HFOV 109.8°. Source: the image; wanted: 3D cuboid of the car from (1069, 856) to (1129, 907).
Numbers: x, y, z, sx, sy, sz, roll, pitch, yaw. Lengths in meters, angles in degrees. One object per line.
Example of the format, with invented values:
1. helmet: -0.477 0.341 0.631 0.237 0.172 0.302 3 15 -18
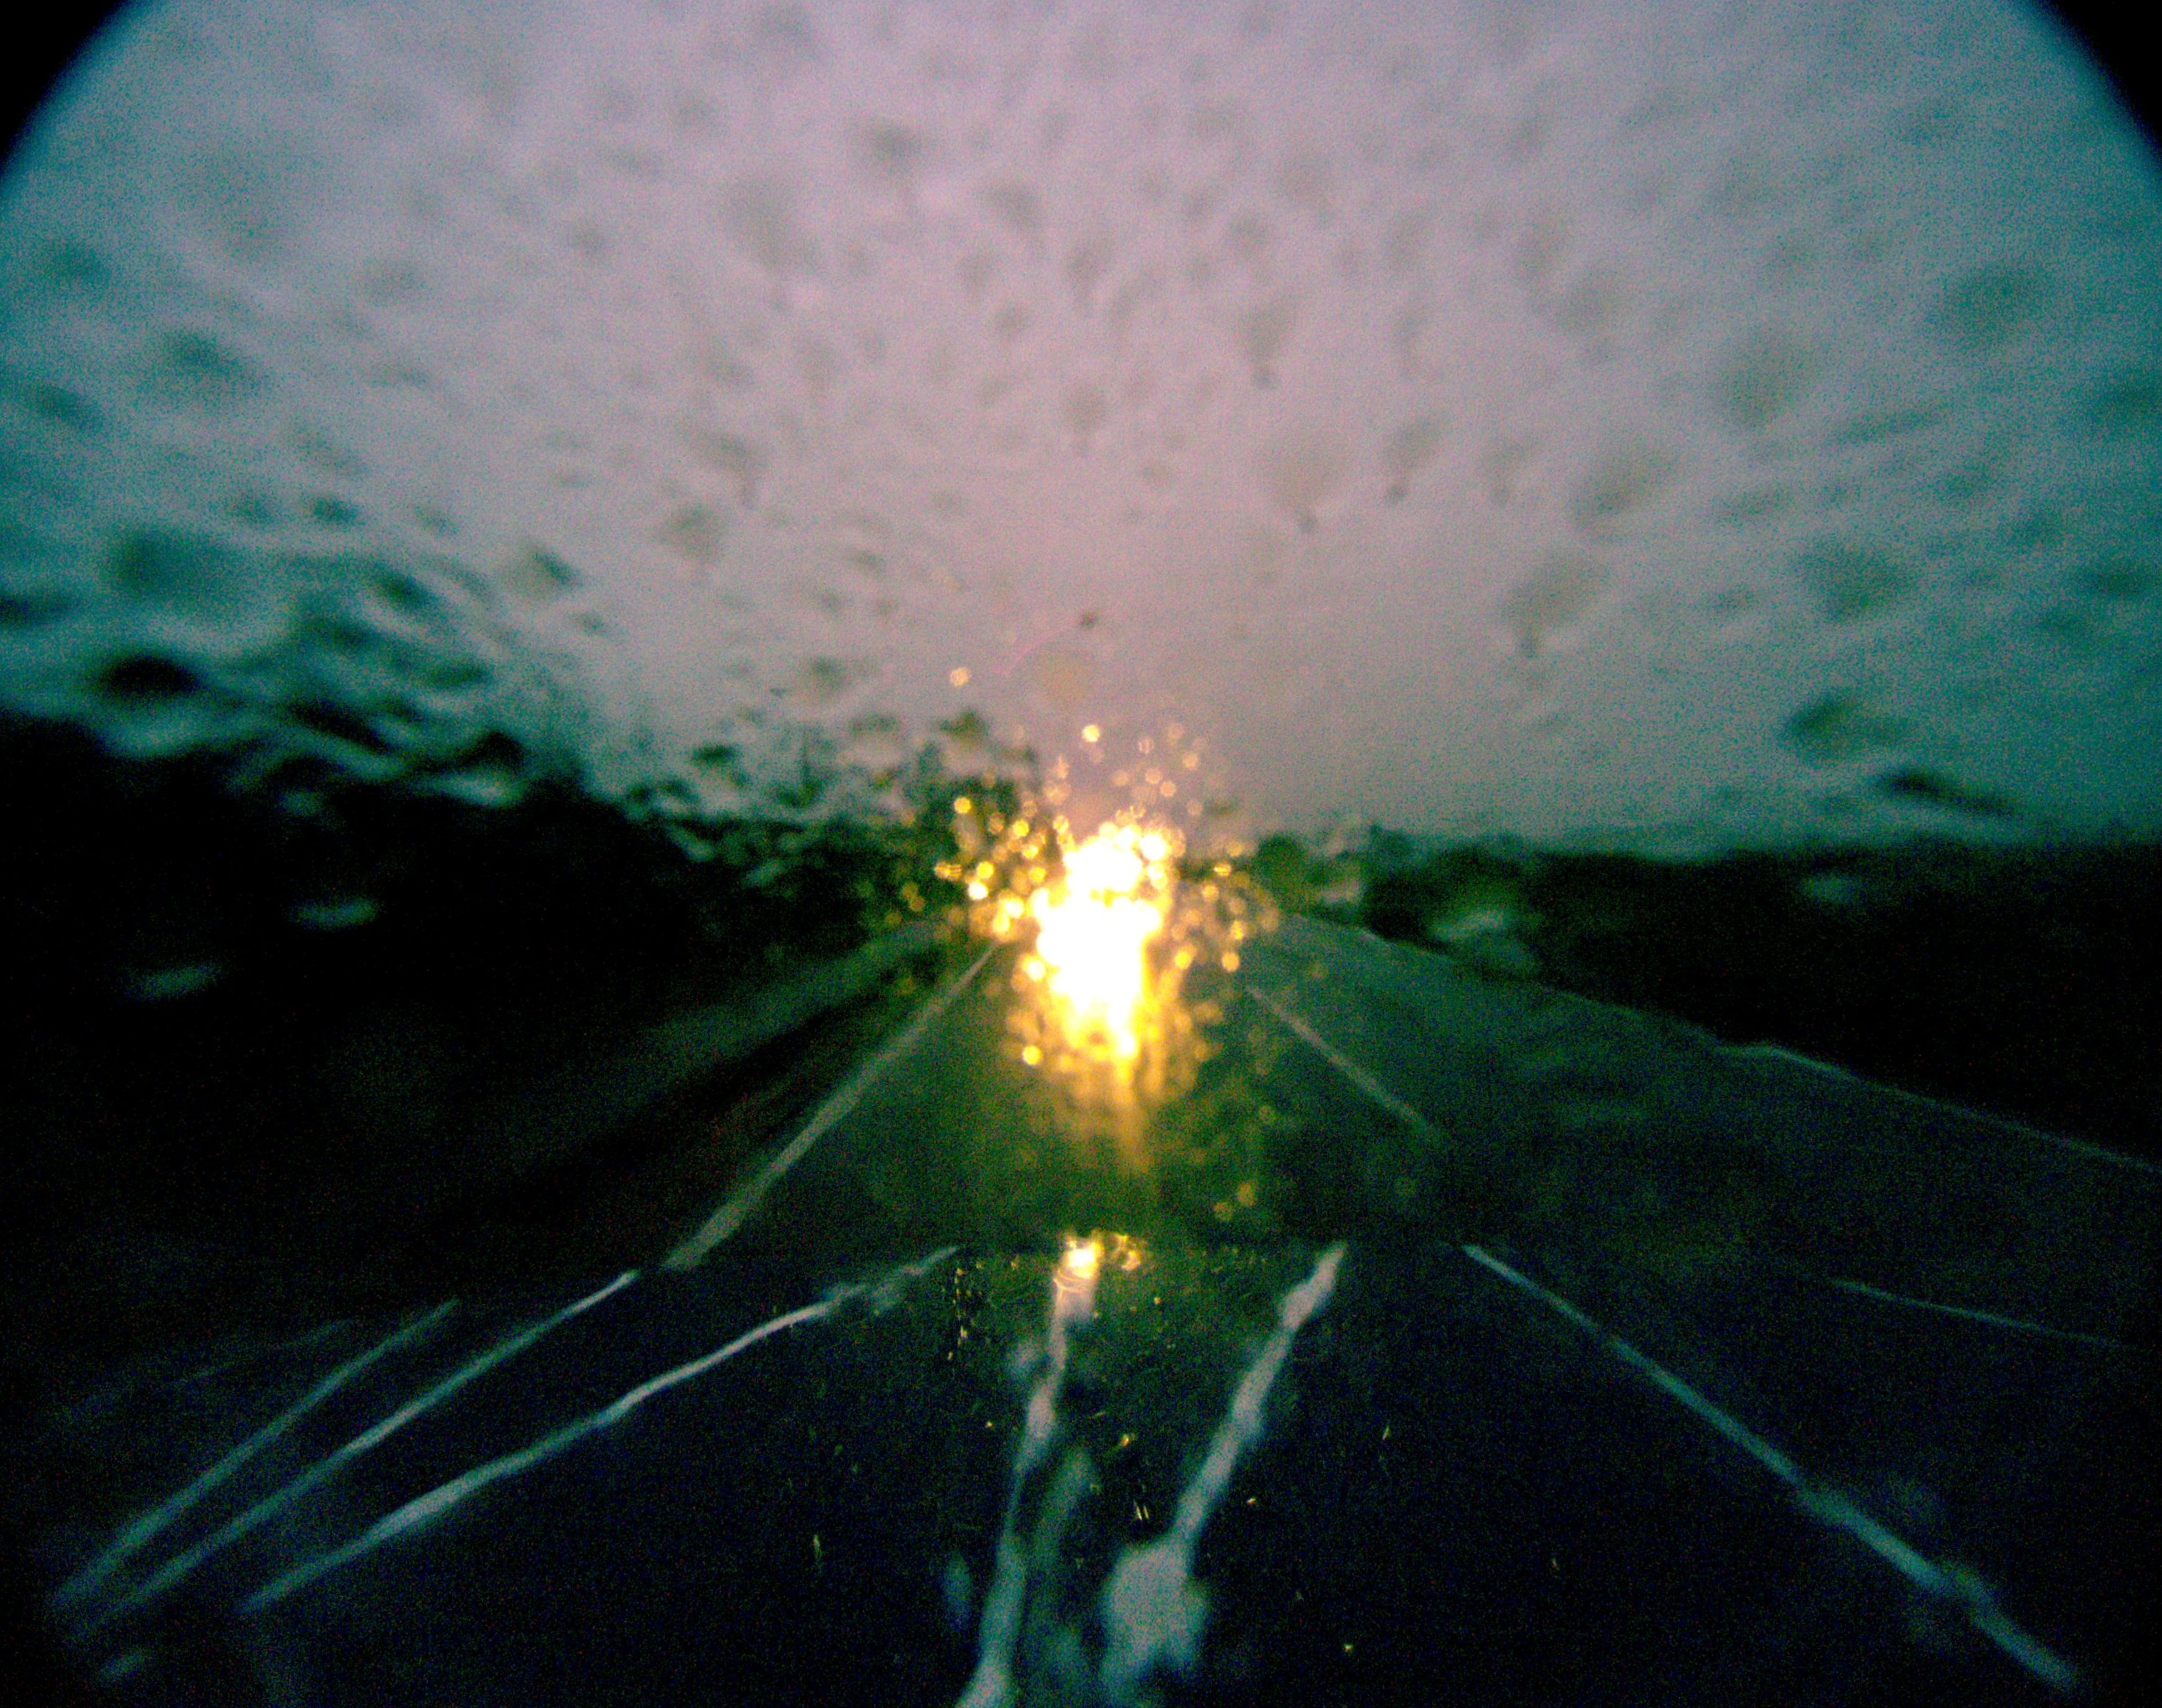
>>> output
1. car: 0.588 0.876 26.055 1.844 1.484 3.956 -2 1 0

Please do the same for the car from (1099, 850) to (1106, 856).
1. car: 6.129 -0.329 220.543 1.844 1.711 3.956 -2 1 0
